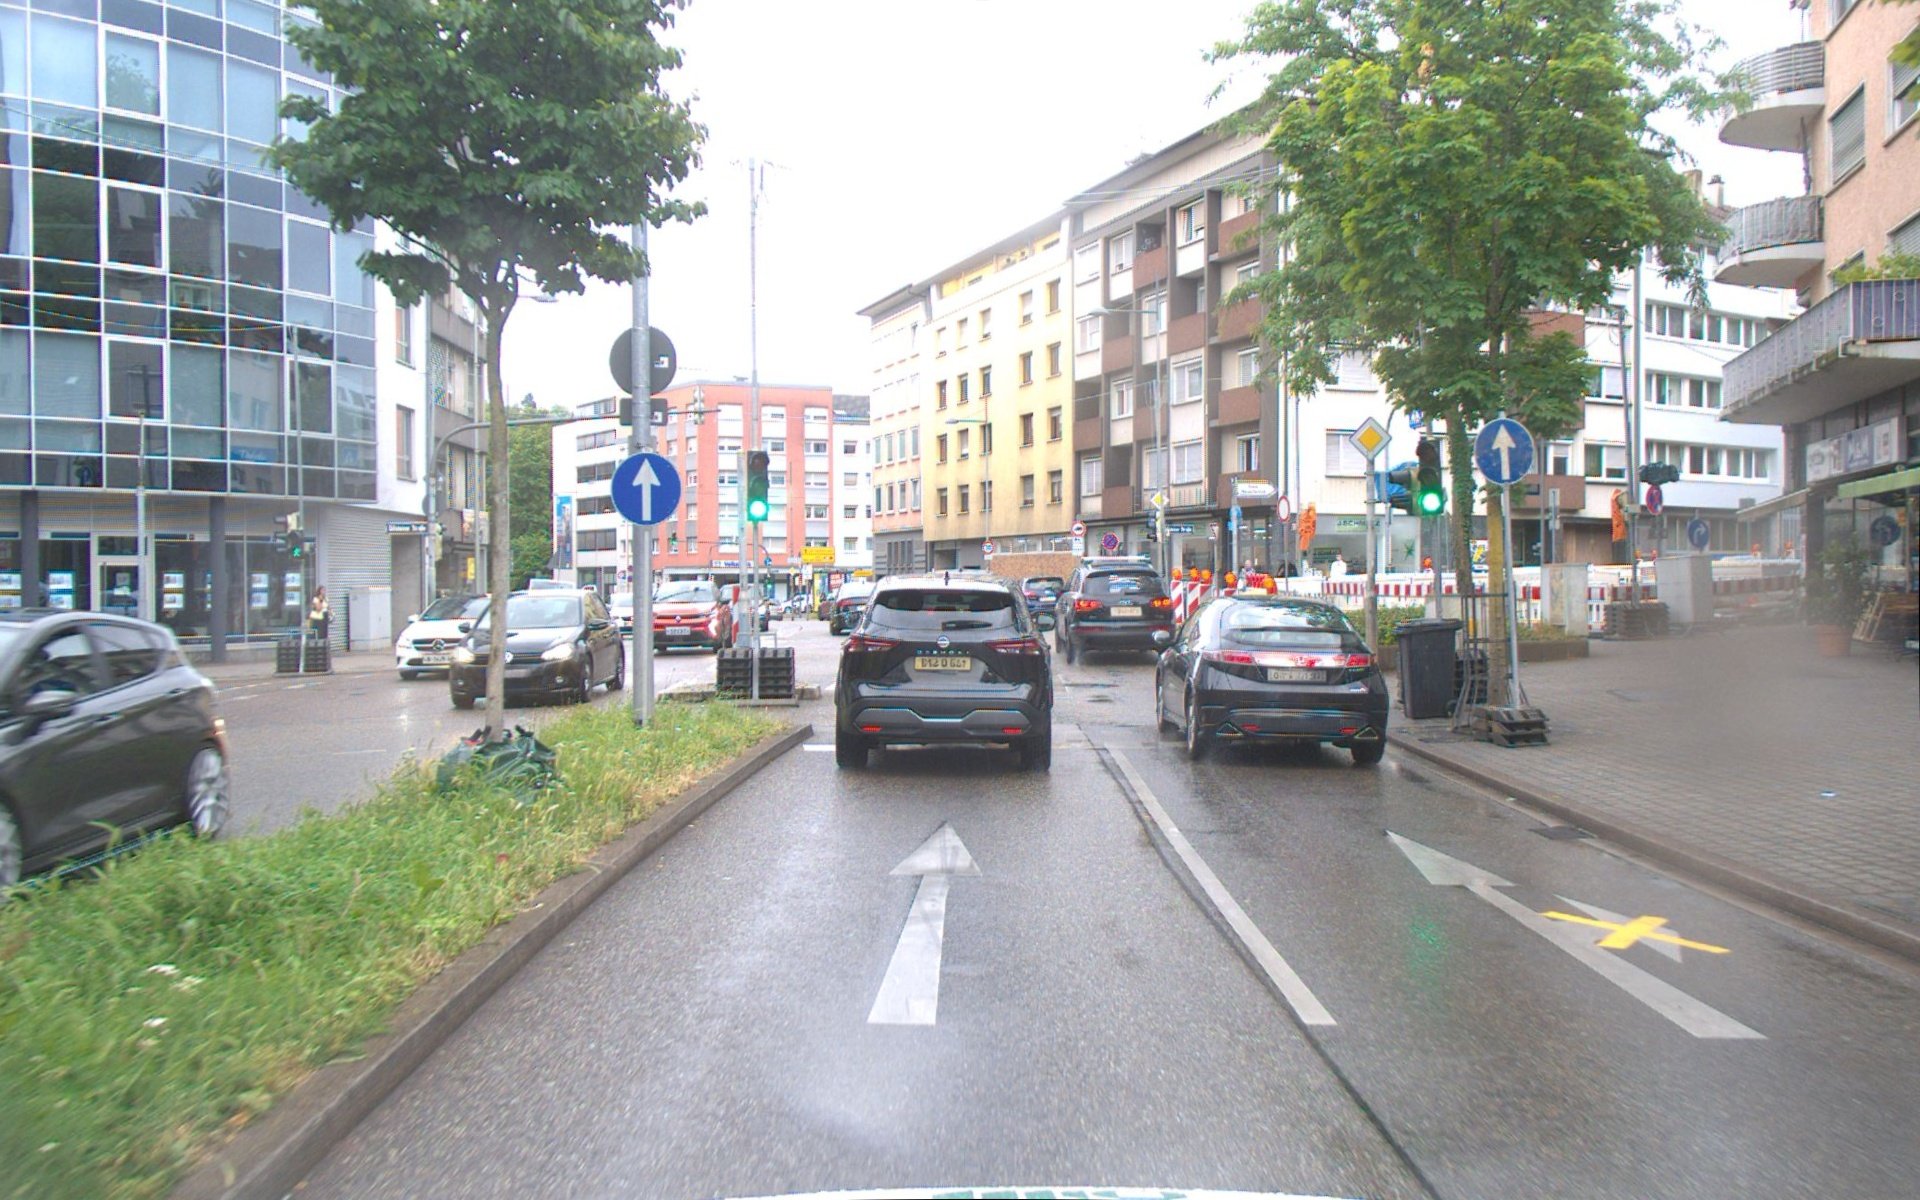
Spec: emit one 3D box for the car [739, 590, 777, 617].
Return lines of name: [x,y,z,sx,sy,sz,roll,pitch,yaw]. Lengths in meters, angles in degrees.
car: [-11.257,0.189,92.067,1.614,1.368,3.335,-2,1,-15]

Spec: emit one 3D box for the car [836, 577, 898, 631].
car: [-2.595,0.092,45.856,1.608,1.405,3.346,-2,1,-4]

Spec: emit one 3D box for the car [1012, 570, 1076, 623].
car: [2.656,-0.148,52.956,1.793,1.589,3.718,1,1,-1]

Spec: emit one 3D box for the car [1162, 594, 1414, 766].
car: [2.987,0.667,15.795,1.749,1.424,3.719,0,0,1]

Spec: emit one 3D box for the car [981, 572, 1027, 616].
car: [1.826,-0.271,68.522,1.792,1.713,3.720,1,1,1]

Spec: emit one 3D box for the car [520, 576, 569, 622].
car: [-15.171,-0.048,60.494,1.522,1.598,3.339,1,0,-11]

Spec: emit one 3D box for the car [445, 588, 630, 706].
car: [-5.595,0.569,22.314,1.637,1.393,3.751,-2,1,-3]

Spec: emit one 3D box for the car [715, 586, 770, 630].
car: [-7.176,0.245,54.881,1.609,1.368,3.345,-2,1,-5]

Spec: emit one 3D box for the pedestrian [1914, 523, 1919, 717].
pedestrian: [8.058,0.267,12.903,0.774,1.786,0.872,-2,0,11]

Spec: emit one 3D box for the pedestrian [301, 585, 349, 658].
pedestrian: [-14.425,0.490,37.583,0.775,1.618,0.753,-2,1,-39]

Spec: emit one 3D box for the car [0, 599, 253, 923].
car: [-5.148,0.772,8.378,1.502,1.437,3.935,-3,1,-2]

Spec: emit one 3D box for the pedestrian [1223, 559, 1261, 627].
pedestrian: [8.617,-0.232,50.573,0.810,2.048,0.835,1,1,-21]

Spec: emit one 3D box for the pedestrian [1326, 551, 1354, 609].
pedestrian: [11.838,-0.620,51.524,0.523,1.800,0.616,1,1,-32]

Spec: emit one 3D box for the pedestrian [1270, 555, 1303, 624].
pedestrian: [9.849,-0.314,49.924,0.805,2.048,0.840,2,1,21]

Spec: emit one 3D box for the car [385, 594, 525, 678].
car: [-8.813,0.586,29.100,1.519,1.312,3.346,-2,1,-3]

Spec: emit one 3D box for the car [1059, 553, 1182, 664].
car: [2.820,0.095,29.792,1.793,1.837,3.718,1,1,-1]

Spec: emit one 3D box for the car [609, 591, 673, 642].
car: [-10.173,0.510,52.953,1.609,1.516,3.345,-2,1,-5]

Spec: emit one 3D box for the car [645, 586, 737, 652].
car: [-5.917,0.385,36.650,1.608,1.344,3.346,-2,1,-3]

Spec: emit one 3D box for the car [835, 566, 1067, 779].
car: [-0.118,0.550,14.760,1.786,1.628,3.717,1,0,-2]

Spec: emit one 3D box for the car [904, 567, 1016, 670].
car: [-0.052,0.285,28.578,1.786,1.628,3.717,1,0,-2]
